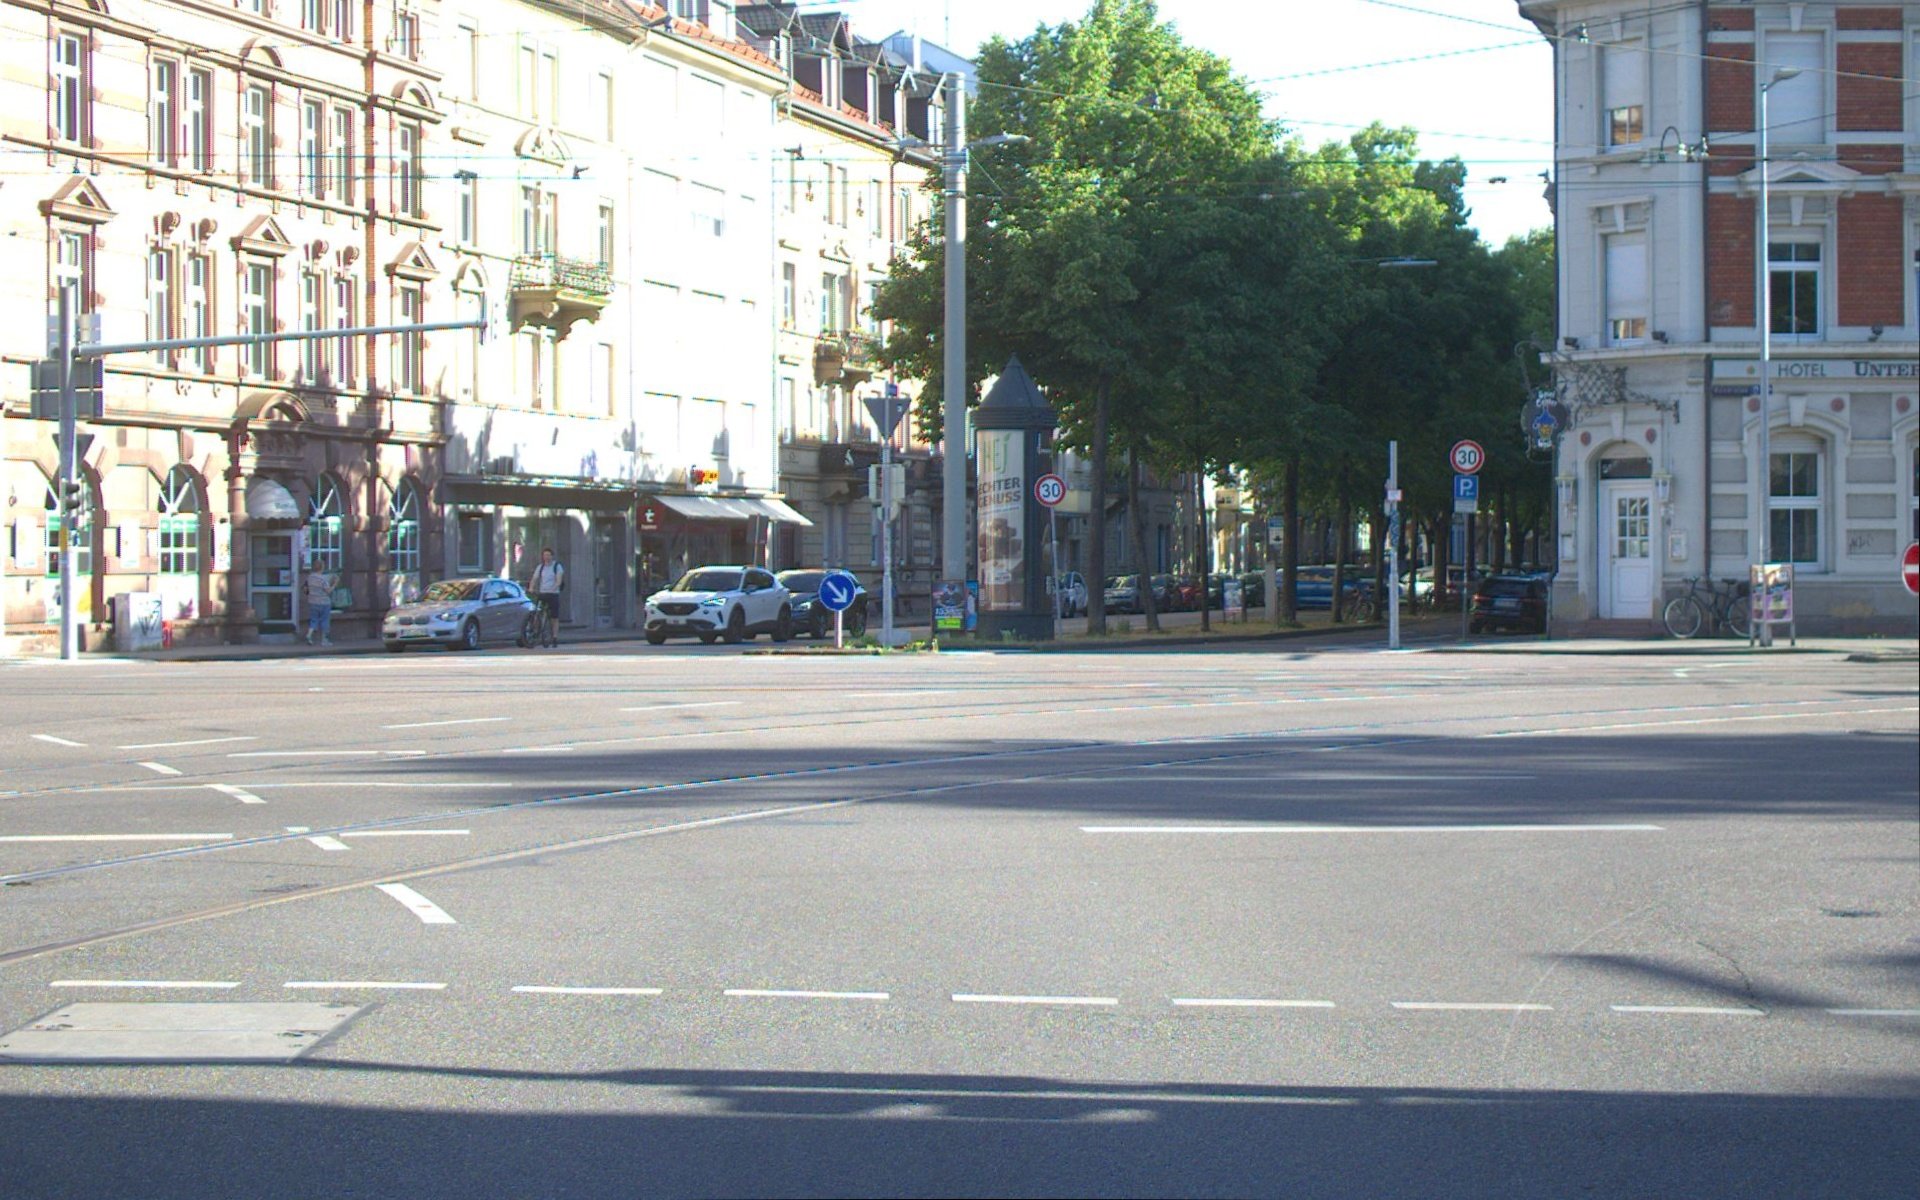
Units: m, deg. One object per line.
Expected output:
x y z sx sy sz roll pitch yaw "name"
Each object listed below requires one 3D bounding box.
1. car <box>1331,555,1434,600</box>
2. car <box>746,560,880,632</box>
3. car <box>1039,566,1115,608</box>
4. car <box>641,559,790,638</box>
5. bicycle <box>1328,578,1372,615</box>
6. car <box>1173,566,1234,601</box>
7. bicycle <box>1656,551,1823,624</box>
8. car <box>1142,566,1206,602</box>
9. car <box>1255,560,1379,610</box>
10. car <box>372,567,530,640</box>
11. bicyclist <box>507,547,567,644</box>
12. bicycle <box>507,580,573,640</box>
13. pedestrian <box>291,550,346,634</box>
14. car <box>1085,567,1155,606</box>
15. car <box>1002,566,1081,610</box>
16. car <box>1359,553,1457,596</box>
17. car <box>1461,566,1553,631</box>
15.725 -0.845 128.020 3.582 1.642 1.681 0 1 17 "car"
-3.113 -0.102 73.604 1.678 1.478 3.945 0 1 17 "car"
3.944 -0.443 115.468 1.678 1.349 3.588 0 1 17 "car"
-4.755 -0.053 67.303 1.678 1.478 3.768 0 1 17 "car"
11.270 -0.104 99.471 0.636 1.018 1.847 1 1 -14 "bicycle"
9.625 -0.652 135.766 1.678 1.349 3.588 0 1 17 "car"
12.975 -0.208 57.263 2.554 1.170 0.819 1 0 -3 "bicycle"
8.153 -0.614 130.735 1.678 1.349 3.588 0 1 17 "car"
12.002 -0.509 115.665 3.905 1.642 1.681 0 1 17 "car"
-9.866 0.055 66.899 1.678 1.349 3.588 0 1 17 "car"
-8.008 -0.089 65.128 0.779 1.797 1.055 1 0 14 "bicyclist"
-7.973 0.184 65.254 0.702 1.114 1.634 1 1 13 "bicycle"
-12.763 -0.161 68.422 0.776 1.664 0.830 1 0 15 "pedestrian"
5.716 -0.494 122.429 1.678 1.349 3.588 0 1 17 "car"
2.646 -0.400 111.311 1.678 1.349 3.588 0 1 17 "car"
17.400 -1.000 133.494 3.582 1.642 1.681 0 1 17 "car"
13.158 -0.057 82.561 1.678 1.478 3.945 0 1 17 "car"
